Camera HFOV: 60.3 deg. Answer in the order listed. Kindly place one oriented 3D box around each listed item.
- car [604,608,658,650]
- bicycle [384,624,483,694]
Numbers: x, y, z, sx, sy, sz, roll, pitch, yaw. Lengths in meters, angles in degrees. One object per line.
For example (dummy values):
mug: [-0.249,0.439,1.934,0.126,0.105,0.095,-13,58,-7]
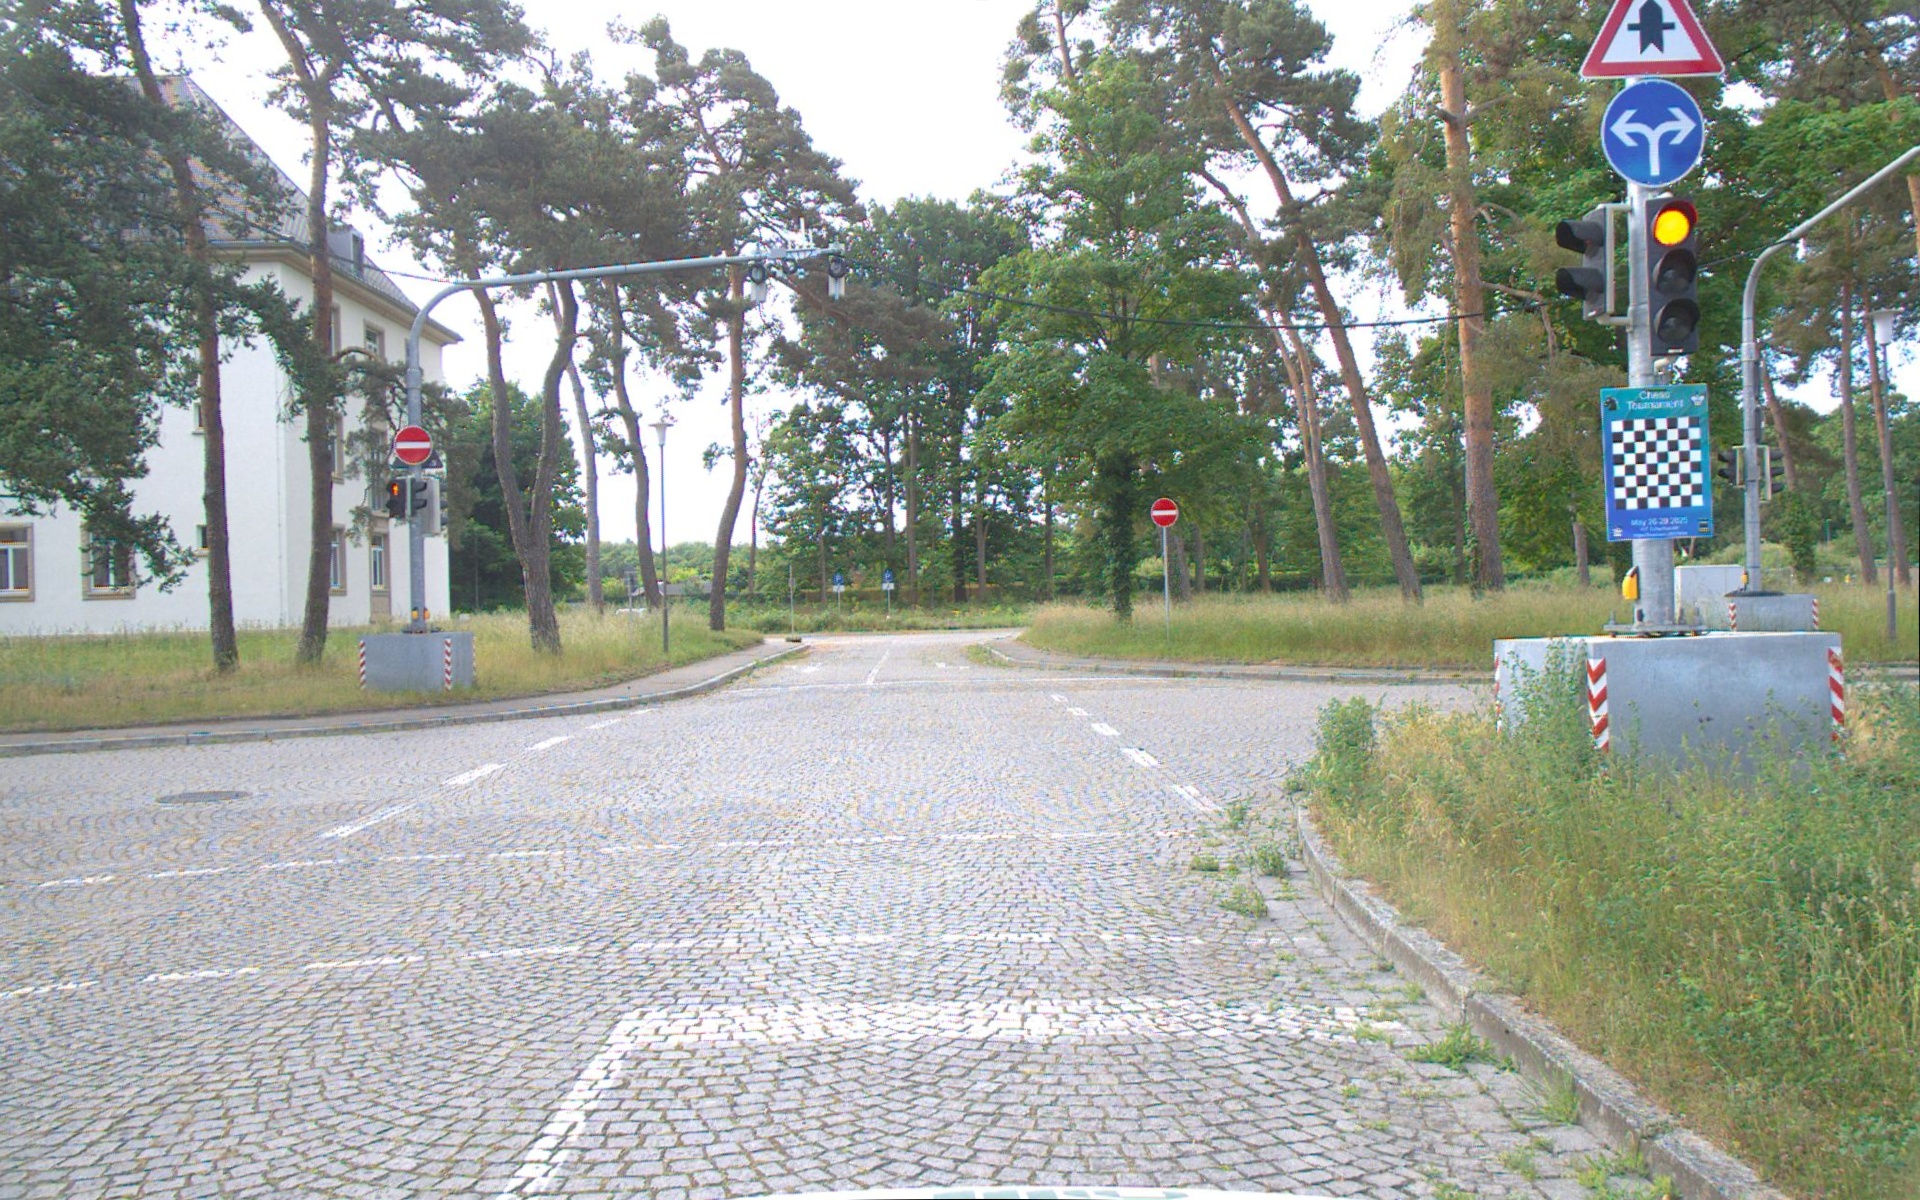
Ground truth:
car: [-15.338,1.320,77.251,1.954,1.878,3.996,0,0,-4]
bicycle: [-8.709,0.968,27.372,1.435,1.083,0.516,-2,1,-4]
